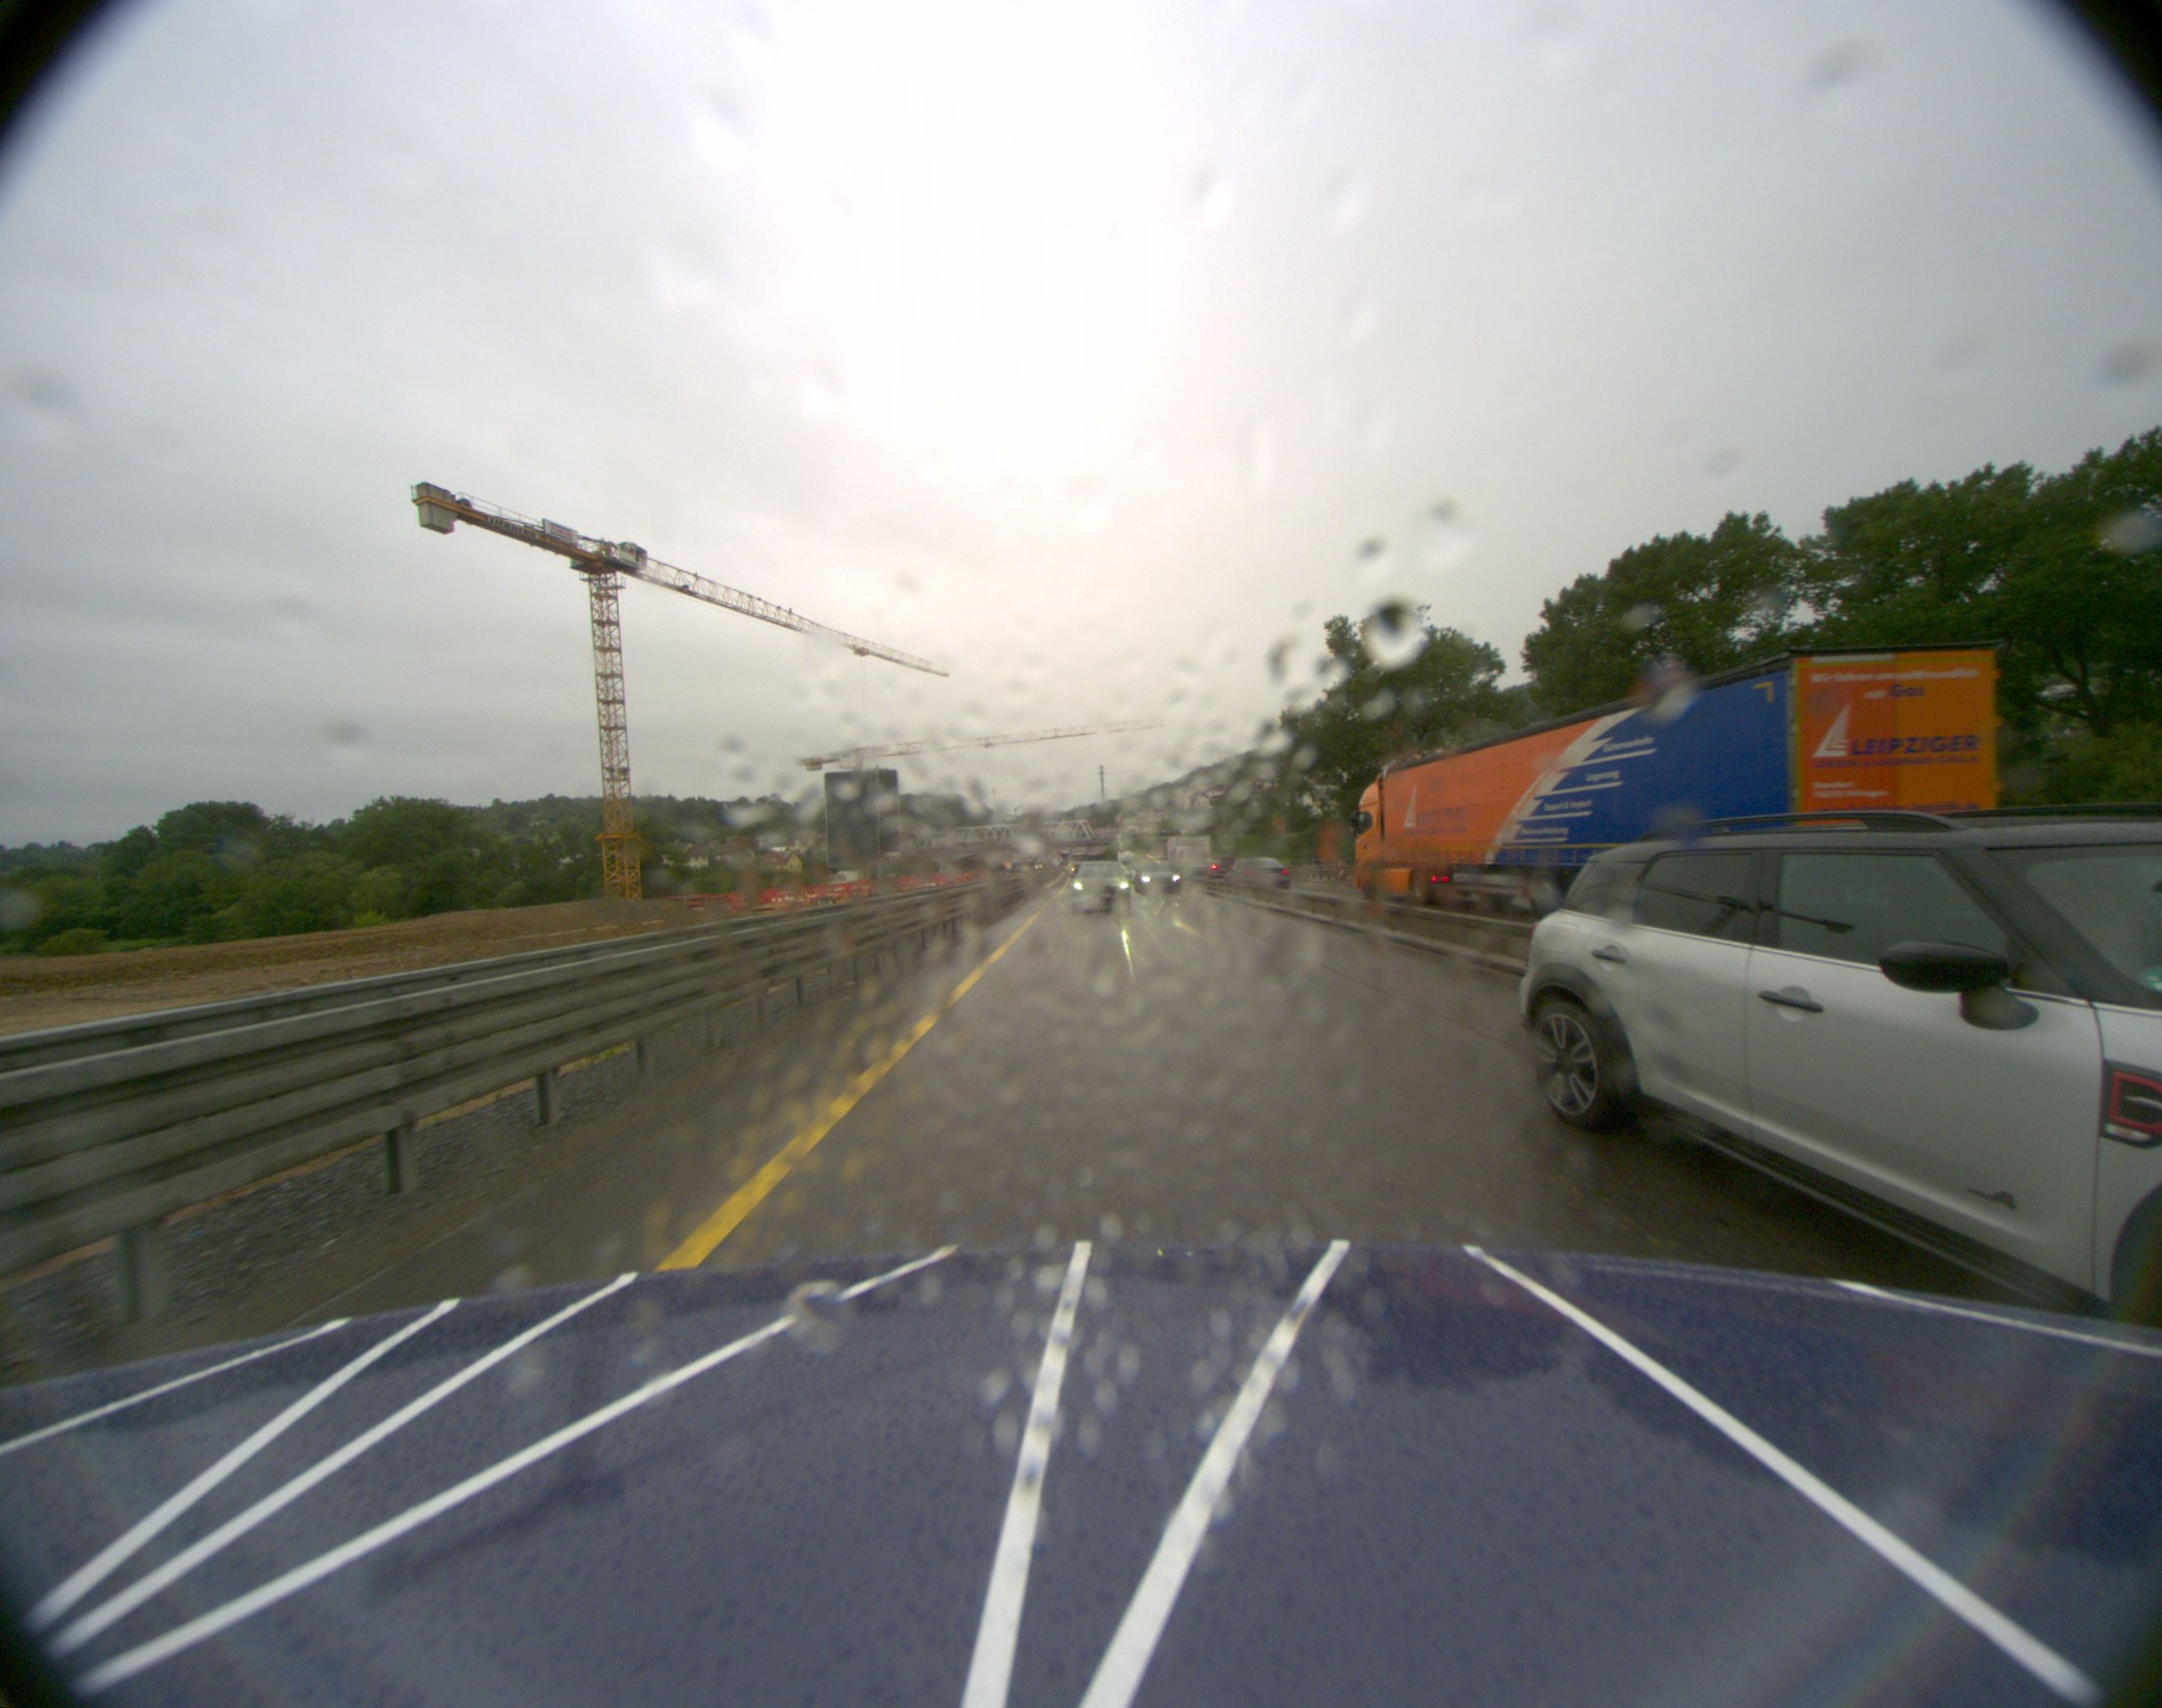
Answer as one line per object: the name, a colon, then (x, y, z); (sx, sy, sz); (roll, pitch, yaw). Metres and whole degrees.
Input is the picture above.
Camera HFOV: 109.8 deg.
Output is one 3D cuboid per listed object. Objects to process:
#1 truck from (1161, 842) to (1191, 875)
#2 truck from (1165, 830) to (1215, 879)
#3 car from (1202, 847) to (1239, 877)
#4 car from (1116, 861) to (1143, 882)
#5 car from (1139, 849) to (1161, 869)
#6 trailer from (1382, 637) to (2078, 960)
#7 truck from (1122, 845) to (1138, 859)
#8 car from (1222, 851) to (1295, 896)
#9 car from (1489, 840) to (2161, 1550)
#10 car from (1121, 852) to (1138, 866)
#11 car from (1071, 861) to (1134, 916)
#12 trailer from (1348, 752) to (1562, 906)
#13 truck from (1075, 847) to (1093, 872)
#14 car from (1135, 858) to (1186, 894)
truck: (10.819, 0.478, 86.875); (2.607, 3.605, 6.538); (-2, 1, 1)
truck: (7.186, 0.020, 50.769); (2.413, 2.976, 6.538); (-2, 1, 1)
car: (9.968, 0.552, 54.589); (1.907, 2.002, 4.000); (0, 0, 1)
car: (3.778, 1.315, 59.724); (1.781, 1.430, 4.483); (-2, 1, 1)
car: (7.191, 0.509, 79.542); (1.907, 2.002, 4.000); (0, 0, 1)
trailer: (10.780, -0.649, 16.299); (3.285, 3.885, 13.699); (-2, 0, 1)
truck: (10.119, -0.493, 157.347); (2.800, 2.769, 5.497); (-2, 1, 0)
car: (6.730, 0.684, 29.238); (1.836, 1.501, 4.126); (-2, 1, 1)
car: (3.382, 0.774, 2.447); (1.820, 1.591, 4.308); (-2, 0, 1)
car: (6.938, 0.748, 109.248); (2.165, 2.002, 4.479); (0, 0, 1)
car: (0.661, 1.026, 24.221); (1.781, 1.514, 4.141); (-2, 0, 1)
trailer: (10.860, -0.630, 22.962); (3.278, 3.895, 6.352); (-2, 0, 1)
truck: (0.503, 0.789, 114.582); (2.576, 3.451, 6.626); (-2, 1, 1)
car: (3.679, 0.990, 35.854); (1.951, 1.430, 4.483); (-2, 1, 1)
